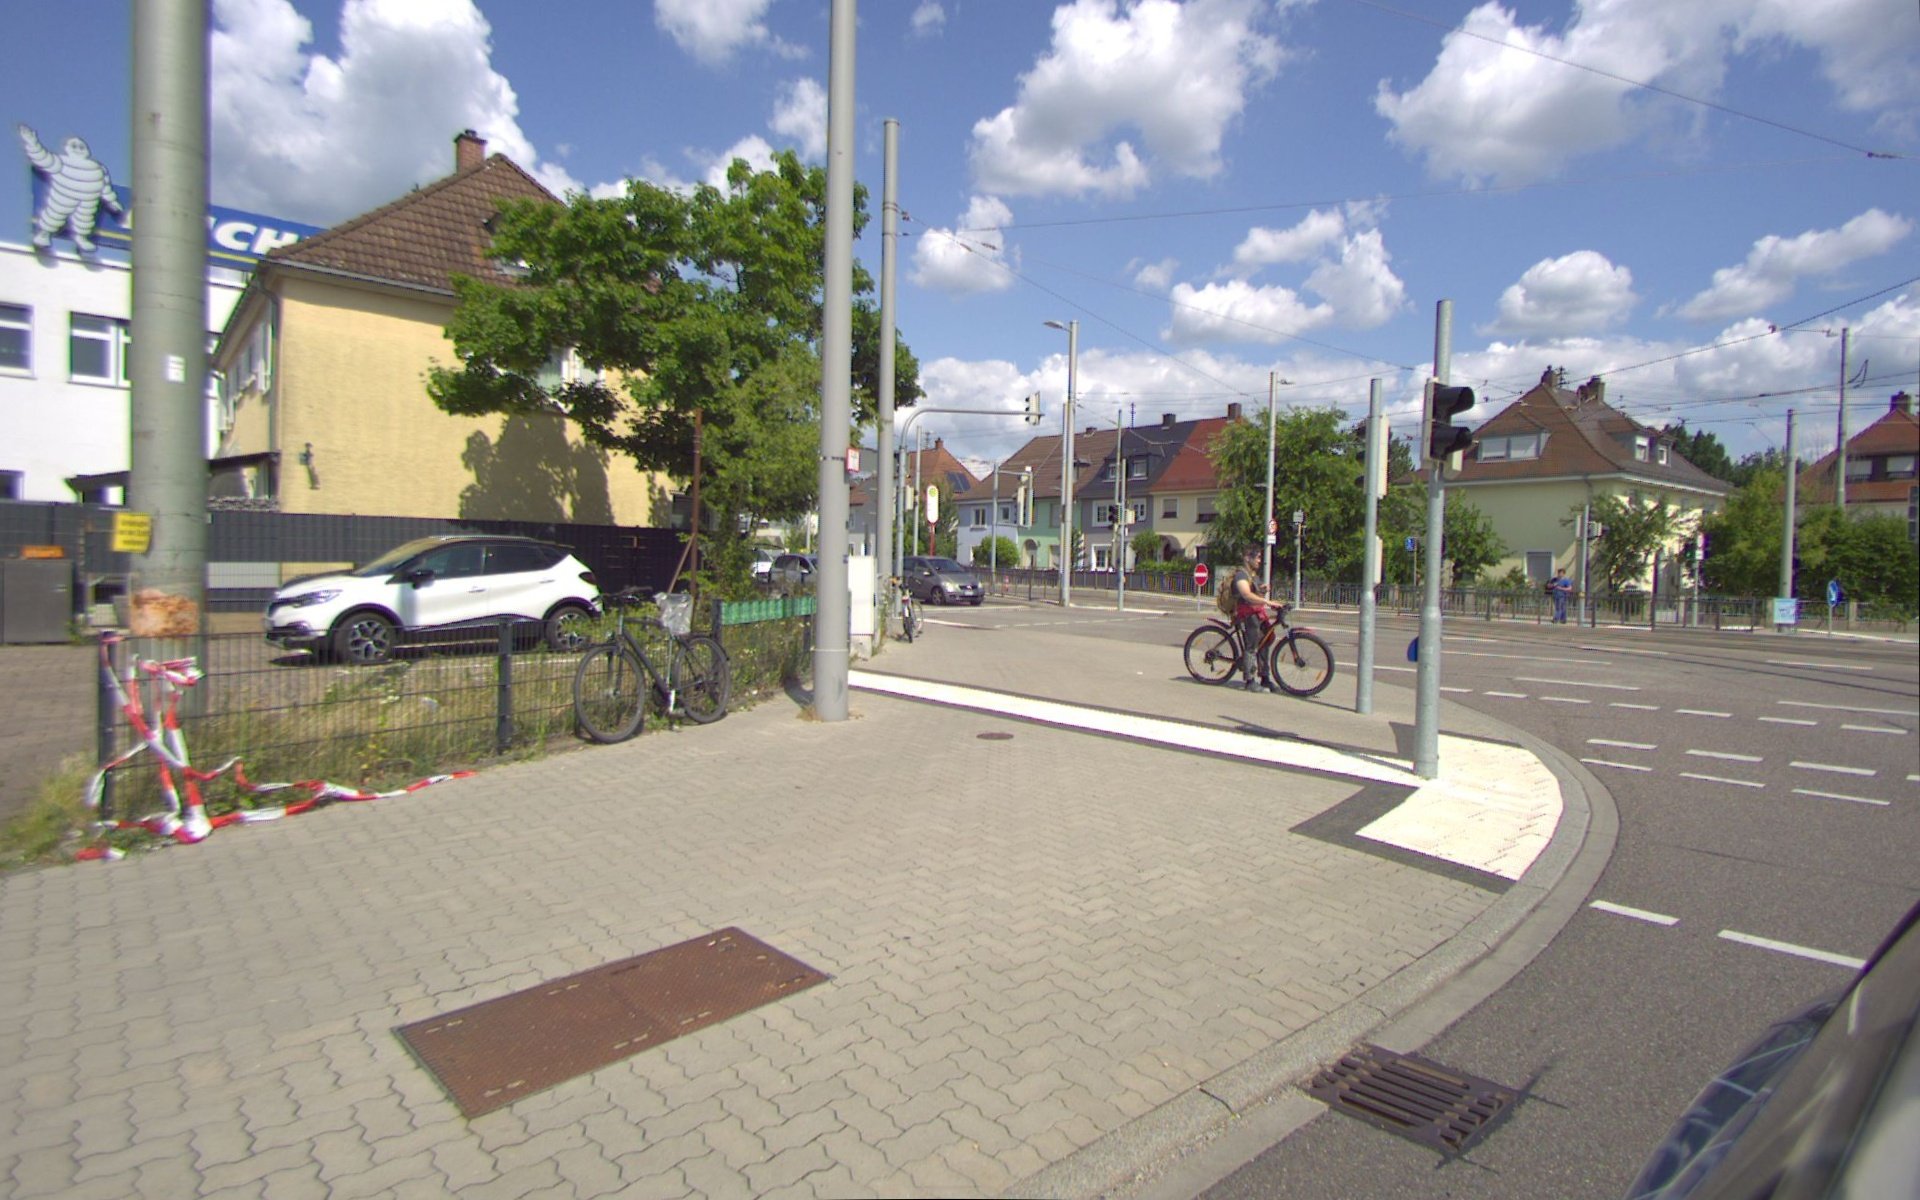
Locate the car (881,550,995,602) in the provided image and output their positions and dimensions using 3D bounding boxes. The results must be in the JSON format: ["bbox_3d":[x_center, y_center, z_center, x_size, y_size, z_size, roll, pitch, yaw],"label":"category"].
[{"bbox_3d":[-0.794,-0.821,33.683,1.808,1.587,4.000,0,2,-37],"label":"car"}]

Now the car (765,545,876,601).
[{"bbox_3d":[-4.640,-0.920,33.260,1.903,1.713,4.000,0,2,-37],"label":"car"}]

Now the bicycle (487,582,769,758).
[{"bbox_3d":[-2.421,0.437,7.739,0.590,1.110,2.254,2,2,29],"label":"bicycle"}]

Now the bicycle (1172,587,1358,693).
[{"bbox_3d":[3.632,0.437,12.099,2.015,1.115,0.708,2,2,29],"label":"bicycle"}]

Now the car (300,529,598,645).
[{"bbox_3d":[-8.131,-0.282,16.335,3.936,1.640,1.823,-3,4,-45],"label":"car"}]

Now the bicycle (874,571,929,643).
[{"bbox_3d":[-0.970,0.083,17.076,0.690,1.118,1.807,2,2,4],"label":"bicycle"}]

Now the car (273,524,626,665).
[{"bbox_3d":[-6.825,-0.166,13.798,3.936,1.640,1.823,-3,4,-45],"label":"car"}]

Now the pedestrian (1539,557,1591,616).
[{"bbox_3d":[18.751,-0.420,31.367,1.022,1.756,1.032,1,2,-39],"label":"pedestrian"}]

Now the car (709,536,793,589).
[{"bbox_3d":[-9.309,-1.691,44.778,1.781,2.186,4.847,0,2,-37],"label":"car"}]

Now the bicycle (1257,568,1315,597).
[{"bbox_3d":[16.165,-0.897,50.249,0.612,1.351,2.797,0,2,-42],"label":"bicycle"}]

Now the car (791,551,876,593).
[{"bbox_3d":[-4.803,-1.065,38.155,1.547,1.464,3.722,0,2,-37],"label":"car"}]

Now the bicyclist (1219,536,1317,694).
[{"bbox_3d":[3.680,0.145,12.085,0.952,1.797,0.712,2,2,29],"label":"bicyclist"}]
